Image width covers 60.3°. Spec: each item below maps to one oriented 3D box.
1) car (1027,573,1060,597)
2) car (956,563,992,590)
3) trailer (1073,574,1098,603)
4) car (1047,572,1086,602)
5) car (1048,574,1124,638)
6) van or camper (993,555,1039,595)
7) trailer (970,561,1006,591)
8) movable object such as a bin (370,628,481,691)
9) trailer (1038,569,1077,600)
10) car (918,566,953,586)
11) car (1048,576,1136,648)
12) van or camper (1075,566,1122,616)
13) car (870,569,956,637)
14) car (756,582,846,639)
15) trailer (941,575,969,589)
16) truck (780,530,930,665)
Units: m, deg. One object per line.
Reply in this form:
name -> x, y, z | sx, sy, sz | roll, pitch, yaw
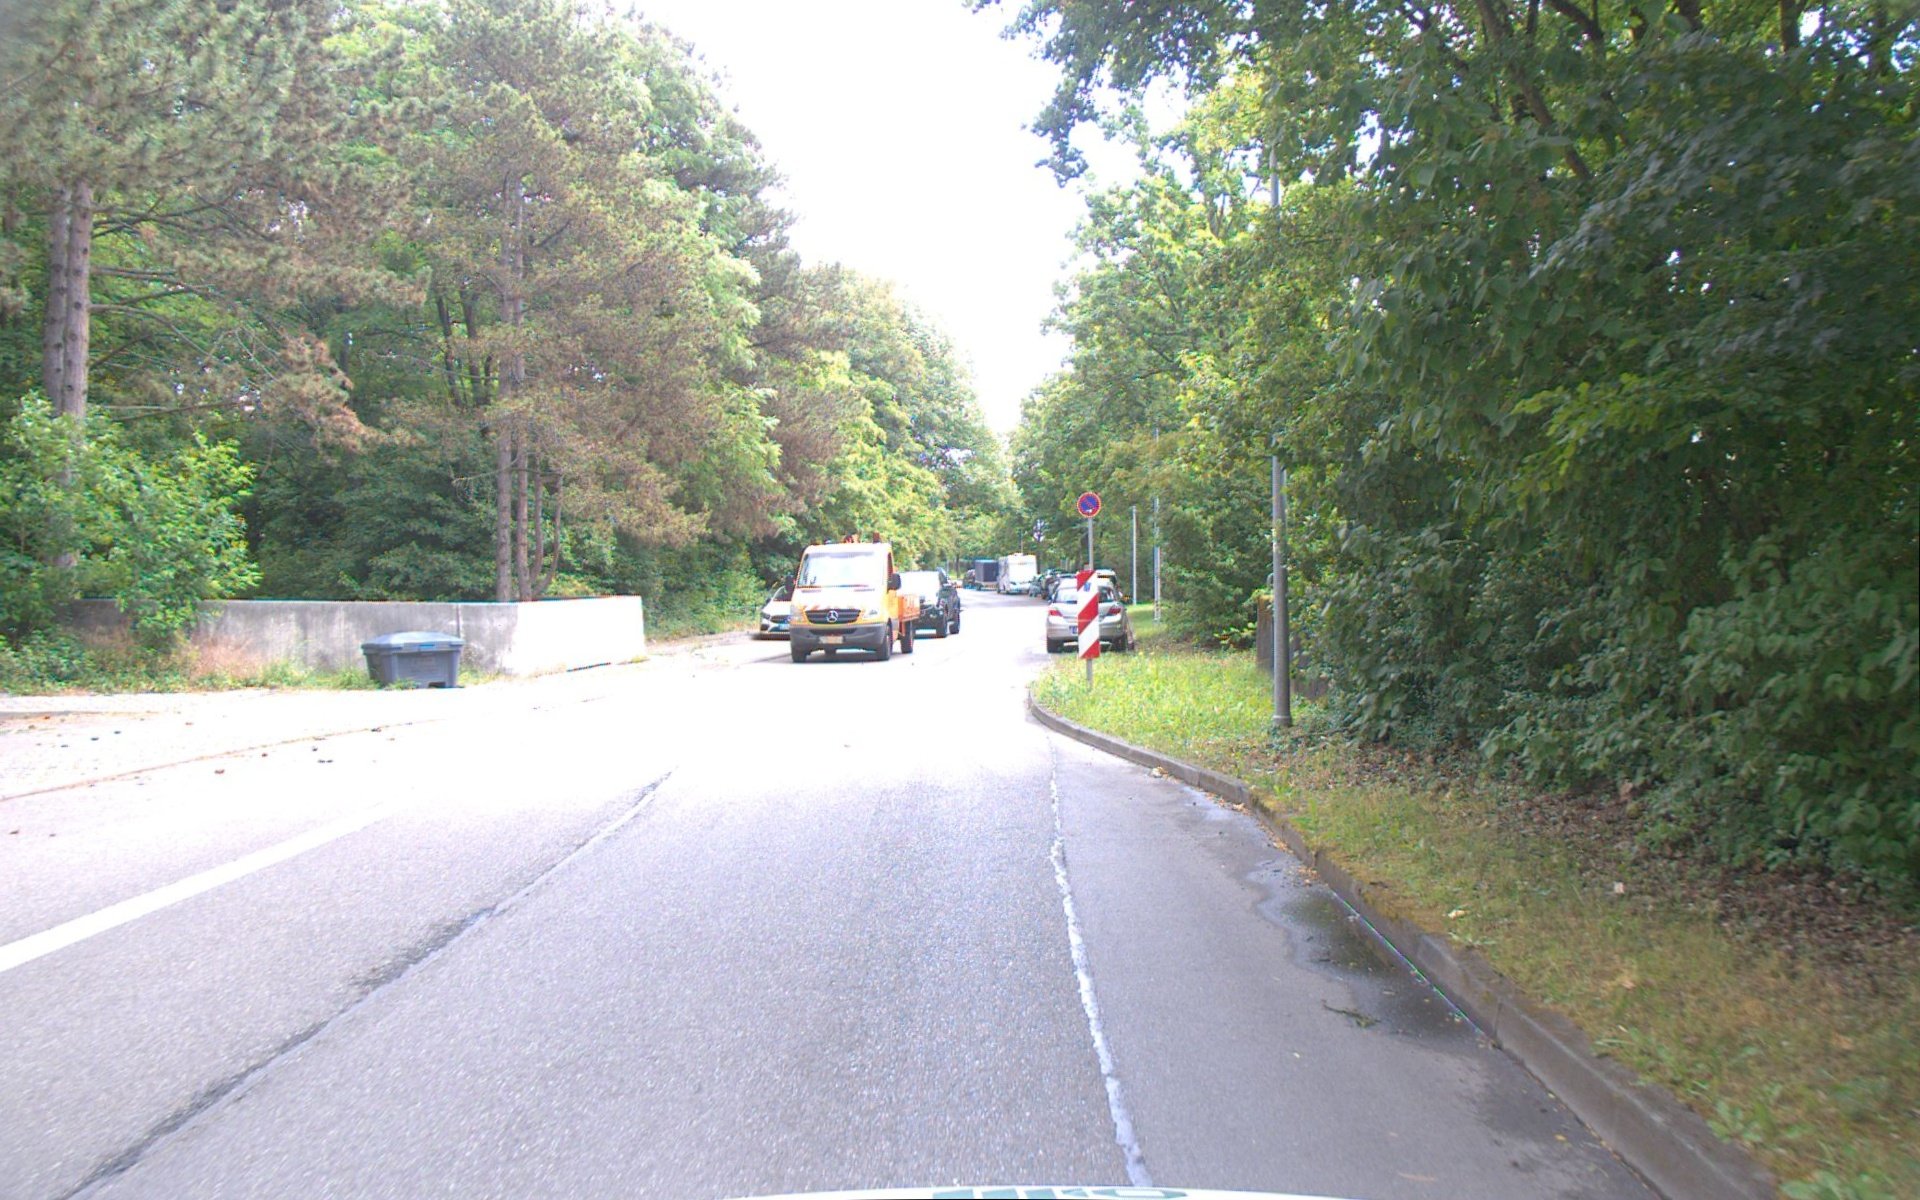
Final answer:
car -> 5.893, -1.074, 116.751 | 1.765, 1.589, 3.831 | -2, 2, -5
car -> 1.215, -2.034, 143.146 | 1.962, 2.060, 3.984 | -5, 3, -16
trailer -> 7.200, -0.688, 94.802 | 1.252, 1.612, 2.460 | -1, 1, 0
car -> 6.491, -0.801, 101.229 | 1.757, 1.699, 4.498 | -2, 0, -4
car -> 3.320, 0.112, 43.517 | 1.846, 1.533, 5.179 | -1, 1, 5
van or camper -> 4.276, -1.949, 127.145 | 2.435, 2.926, 6.879 | -1, 1, -7
trailer -> 2.285, -2.014, 137.750 | 1.961, 2.440, 3.984 | -2, 1, -15
movable object such as a bin -> -6.899, 0.761, 21.332 | 1.133, 0.773, 1.037 | 1, -1, -33
trailer -> 6.326, -1.042, 107.387 | 1.939, 1.843, 5.147 | -2, 2, -3
car -> -2.351, -2.287, 156.042 | 2.005, 1.835, 4.059 | -2, 2, -20
car -> 2.924, 0.223, 36.075 | 1.755, 1.435, 4.062 | -2, 0, 6
van or camper -> 5.402, -0.314, 64.781 | 1.764, 1.870, 4.322 | -1, -1, 4
car -> -1.259, 0.057, 46.918 | 1.952, 1.766, 5.339 | -1, 0, 3
car -> -4.312, 0.249, 45.421 | 1.767, 1.427, 4.374 | 0, 1, 4
trailer -> -0.492, -1.639, 146.935 | 1.623, 1.105, 3.988 | -4, 2, -13
truck -> -2.038, -0.105, 34.131 | 2.273, 2.513, 6.024 | 1, 1, 4
